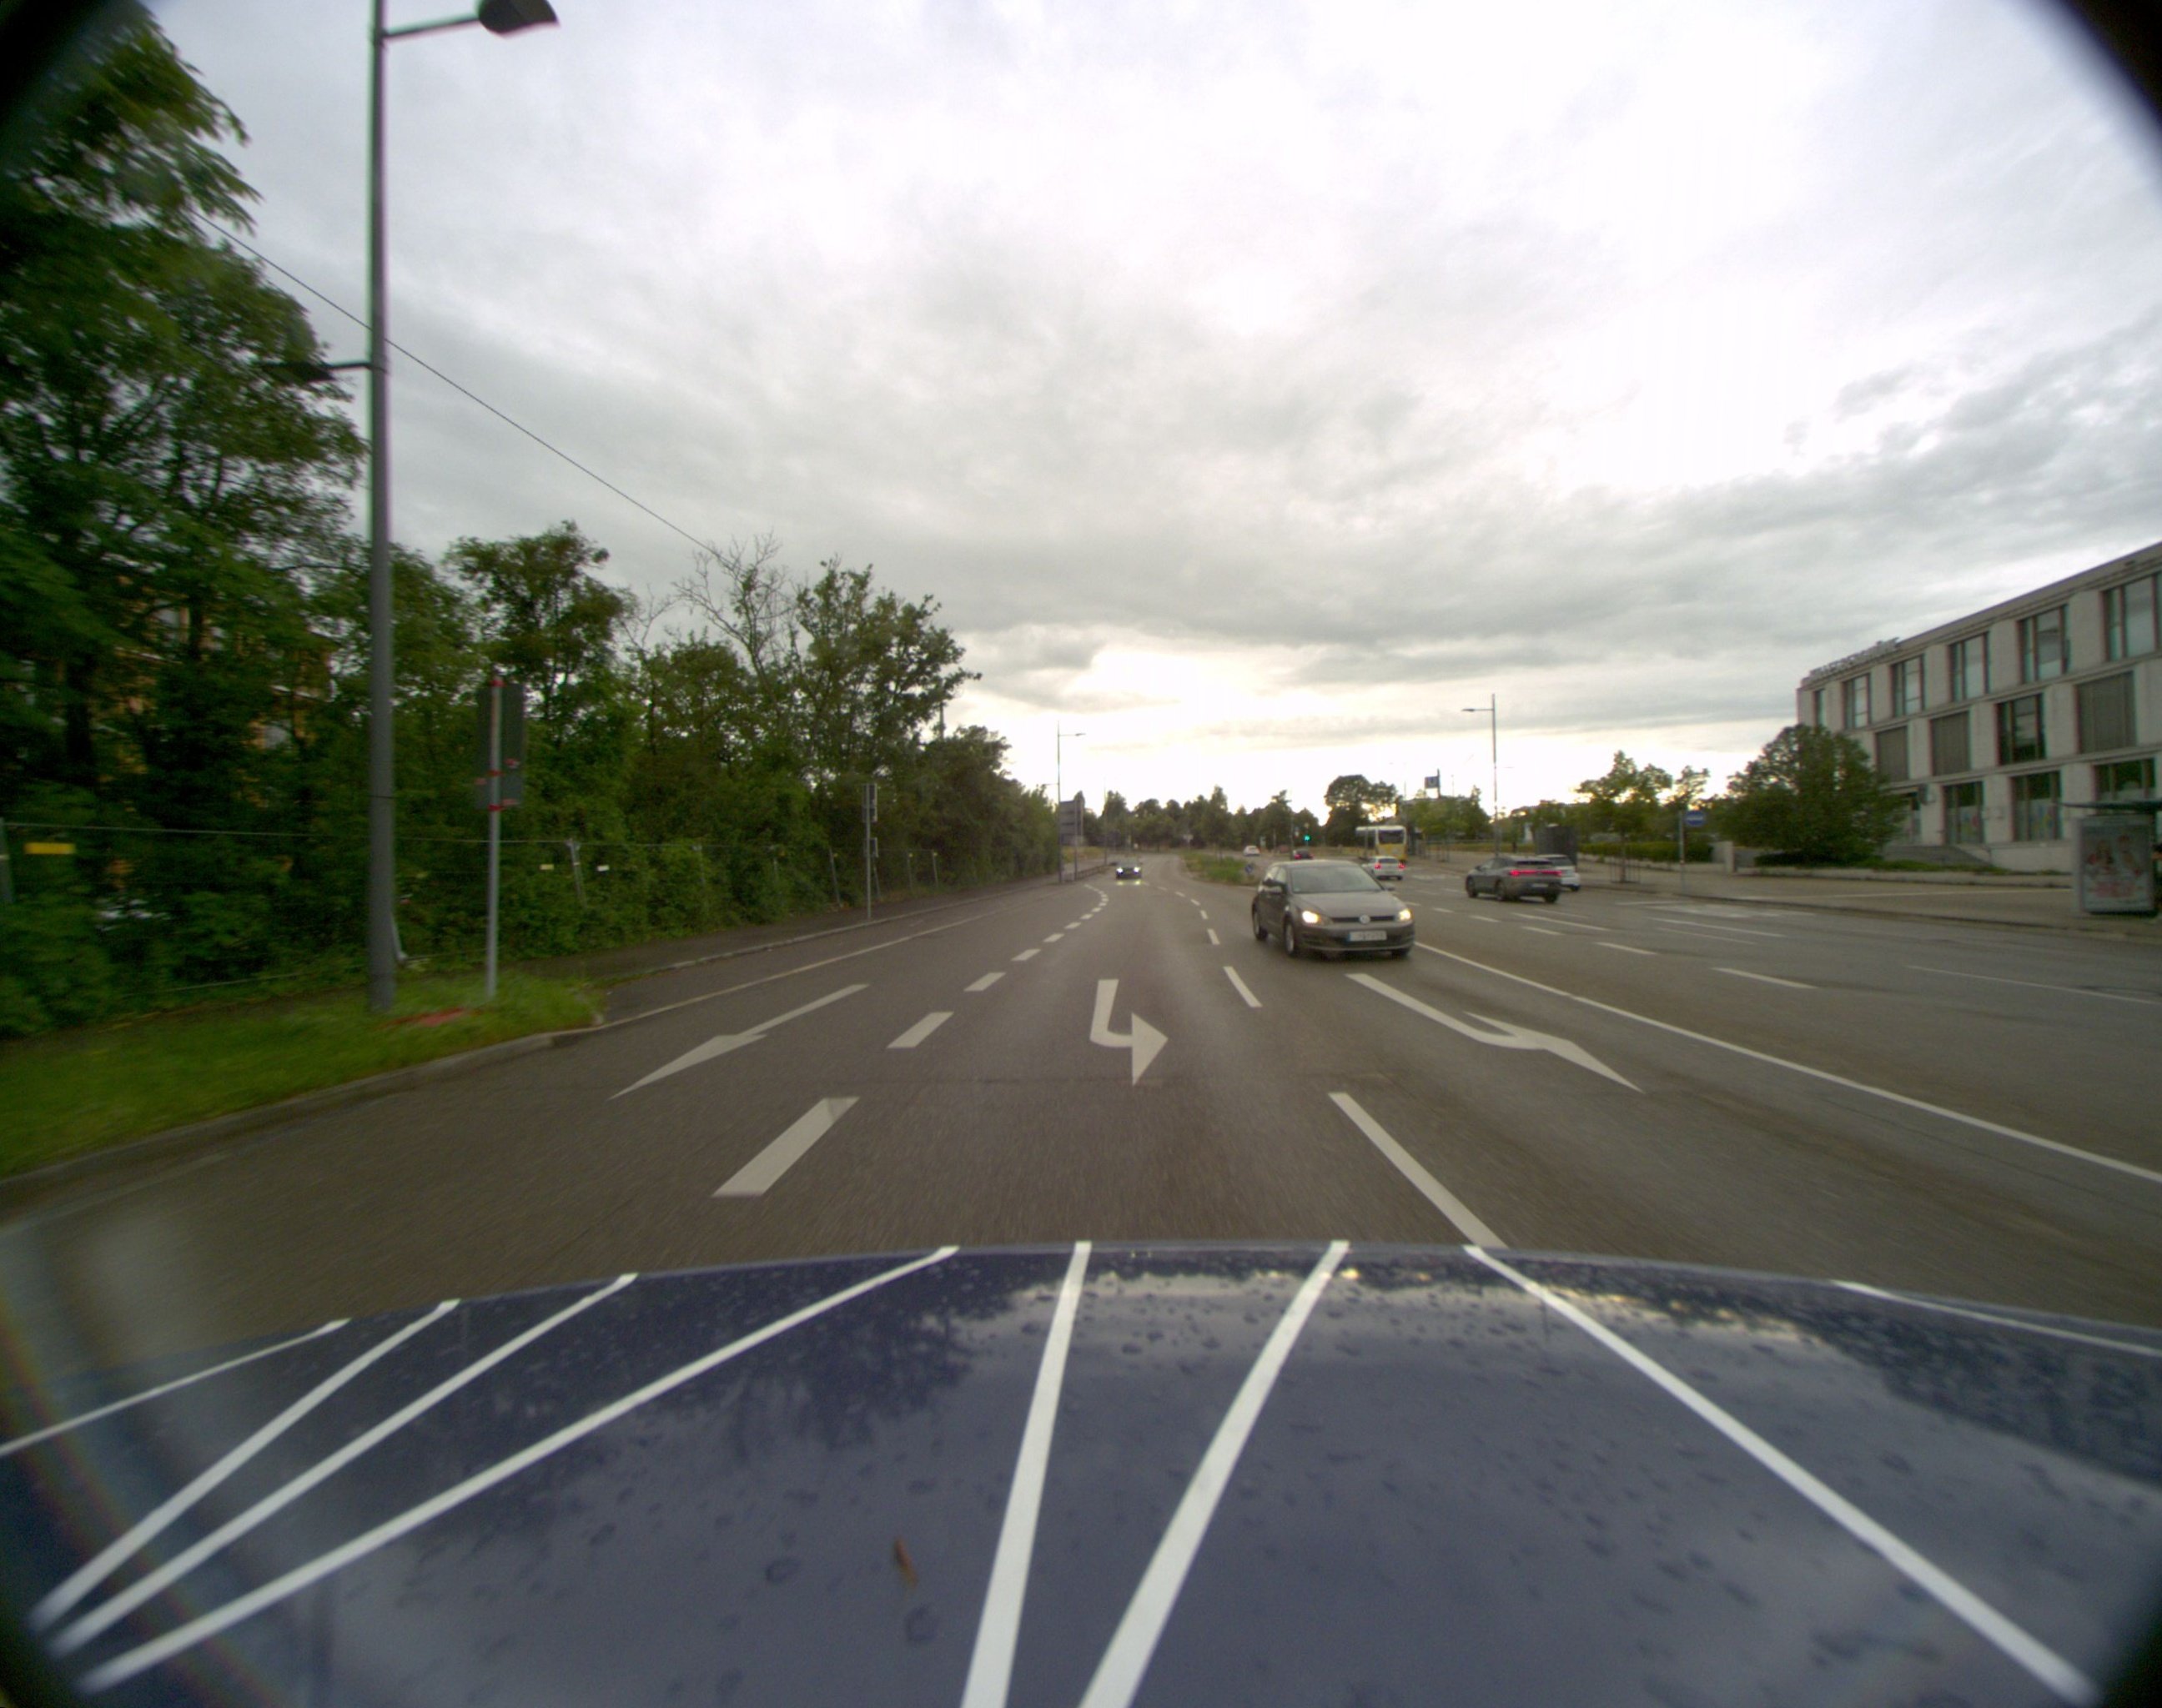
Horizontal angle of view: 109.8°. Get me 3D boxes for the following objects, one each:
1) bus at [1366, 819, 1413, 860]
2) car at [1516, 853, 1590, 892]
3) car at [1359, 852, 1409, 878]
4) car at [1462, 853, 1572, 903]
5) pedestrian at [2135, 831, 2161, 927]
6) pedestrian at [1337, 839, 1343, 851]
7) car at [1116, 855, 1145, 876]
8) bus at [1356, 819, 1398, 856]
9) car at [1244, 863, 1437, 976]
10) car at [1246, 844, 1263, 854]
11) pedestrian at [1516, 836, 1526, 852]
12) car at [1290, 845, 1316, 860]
[{"bbox_3d":[28.251,-1.415,69.962,2.825,3.453,8.237,-2,2,15],"label":"bus"},{"bbox_3d":[20.506,0.771,33.101,1.617,1.499,2.974,-2,1,7],"label":"car"},{"bbox_3d":[18.596,0.633,46.850,1.876,1.422,4.177,1,1,7],"label":"car"},{"bbox_3d":[15.700,0.790,27.665,1.835,1.563,4.595,1,1,7],"label":"car"},{"bbox_3d":[20.883,0.465,14.504,0.508,1.831,0.756,-1,1,7],"label":"pedestrian"},{"bbox_3d":[36.644,-1.300,107.617,0.615,1.584,0.813,-2,-1,3],"label":"pedestrian"},{"bbox_3d":[3.496,0.834,54.431,1.989,1.391,4.177,-2,-1,3],"label":"car"},{"bbox_3d":[30.556,-1.746,78.851,2.825,3.453,9.982,-2,2,15],"label":"bus"},{"bbox_3d":[4.000,0.924,12.503,1.810,1.421,4.197,-2,0,2],"label":"car"},{"bbox_3d":[25.072,-0.711,110.094,1.997,1.410,4.515,-1,1,7],"label":"car"},{"bbox_3d":[41.906,-0.933,72.402,0.490,1.520,0.665,-2,-1,2],"label":"pedestrian"},{"bbox_3d":[21.732,-0.144,74.392,1.850,1.454,3.869,0,1,7],"label":"car"}]
